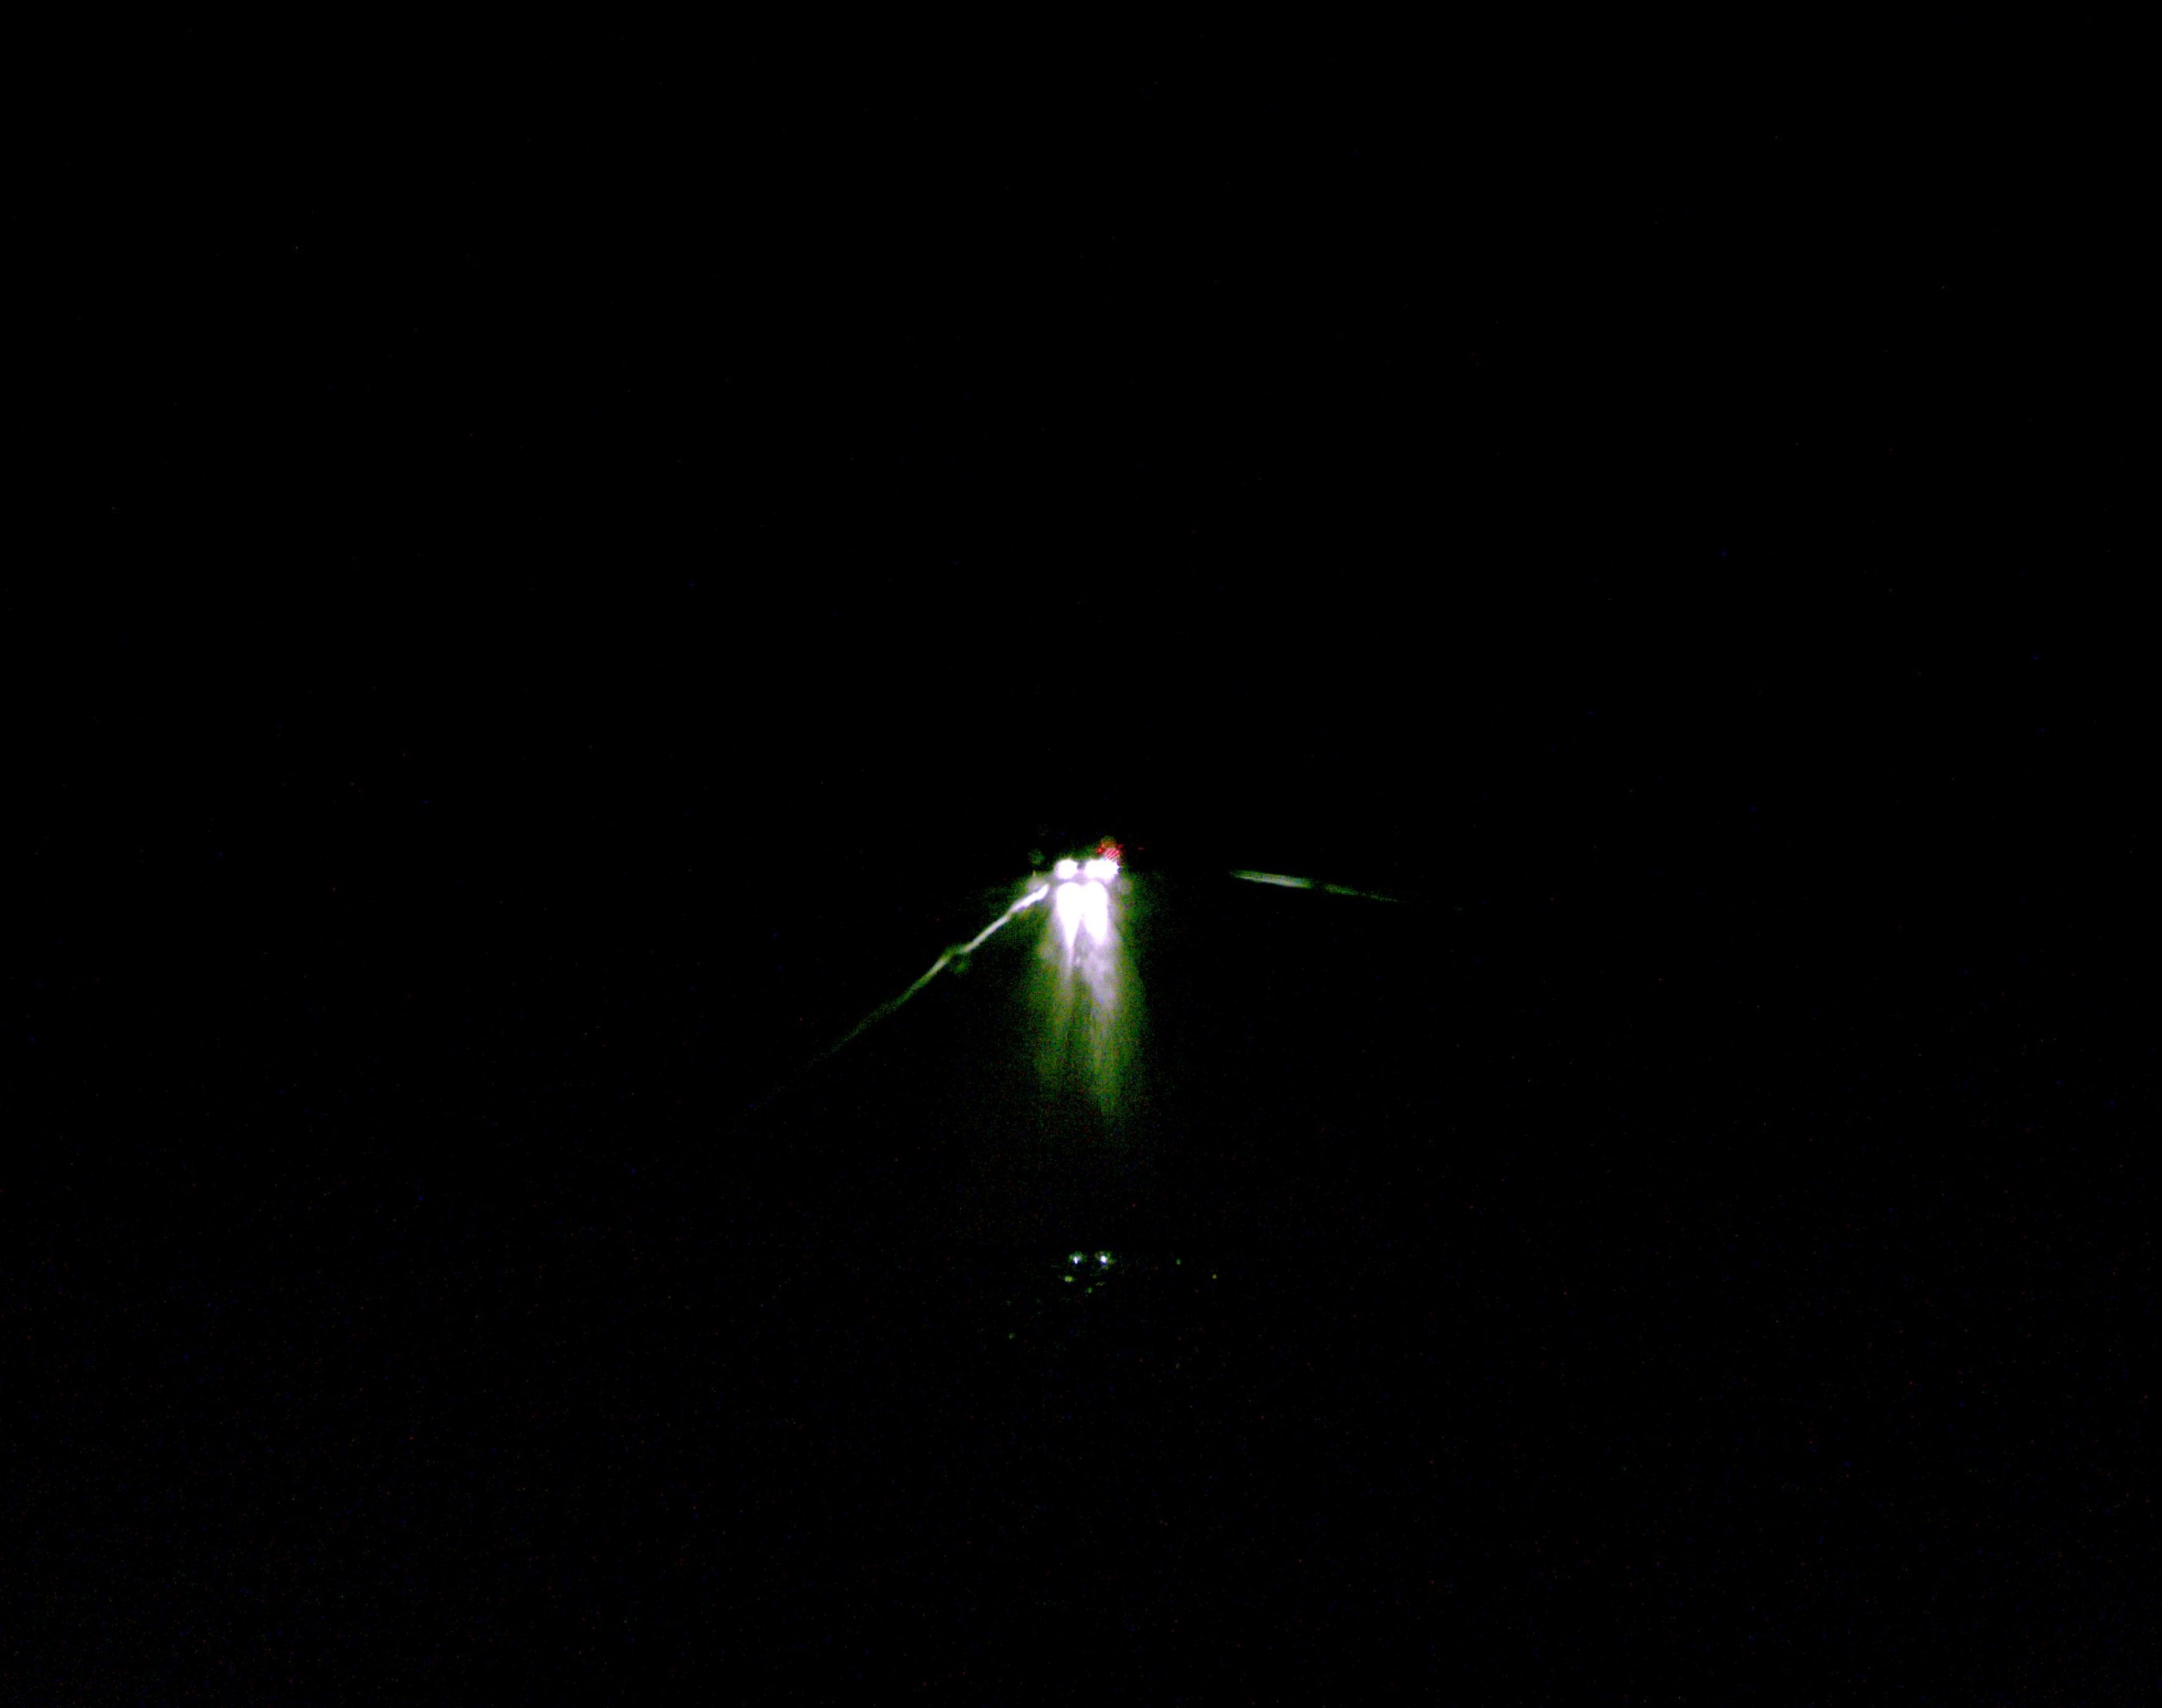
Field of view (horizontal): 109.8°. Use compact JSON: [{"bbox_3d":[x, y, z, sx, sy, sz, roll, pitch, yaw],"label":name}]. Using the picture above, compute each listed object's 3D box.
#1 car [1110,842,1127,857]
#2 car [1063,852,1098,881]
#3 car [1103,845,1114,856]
[{"bbox_3d":[4.374,-0.500,88.918,1.744,1.632,3.599,-2,2,0],"label":"car"},{"bbox_3d":[0.006,0.729,45.768,1.744,1.502,3.600,-1,2,6],"label":"car"},{"bbox_3d":[4.840,-0.578,134.059,2.011,2.002,4.327,0,0,1],"label":"car"}]
